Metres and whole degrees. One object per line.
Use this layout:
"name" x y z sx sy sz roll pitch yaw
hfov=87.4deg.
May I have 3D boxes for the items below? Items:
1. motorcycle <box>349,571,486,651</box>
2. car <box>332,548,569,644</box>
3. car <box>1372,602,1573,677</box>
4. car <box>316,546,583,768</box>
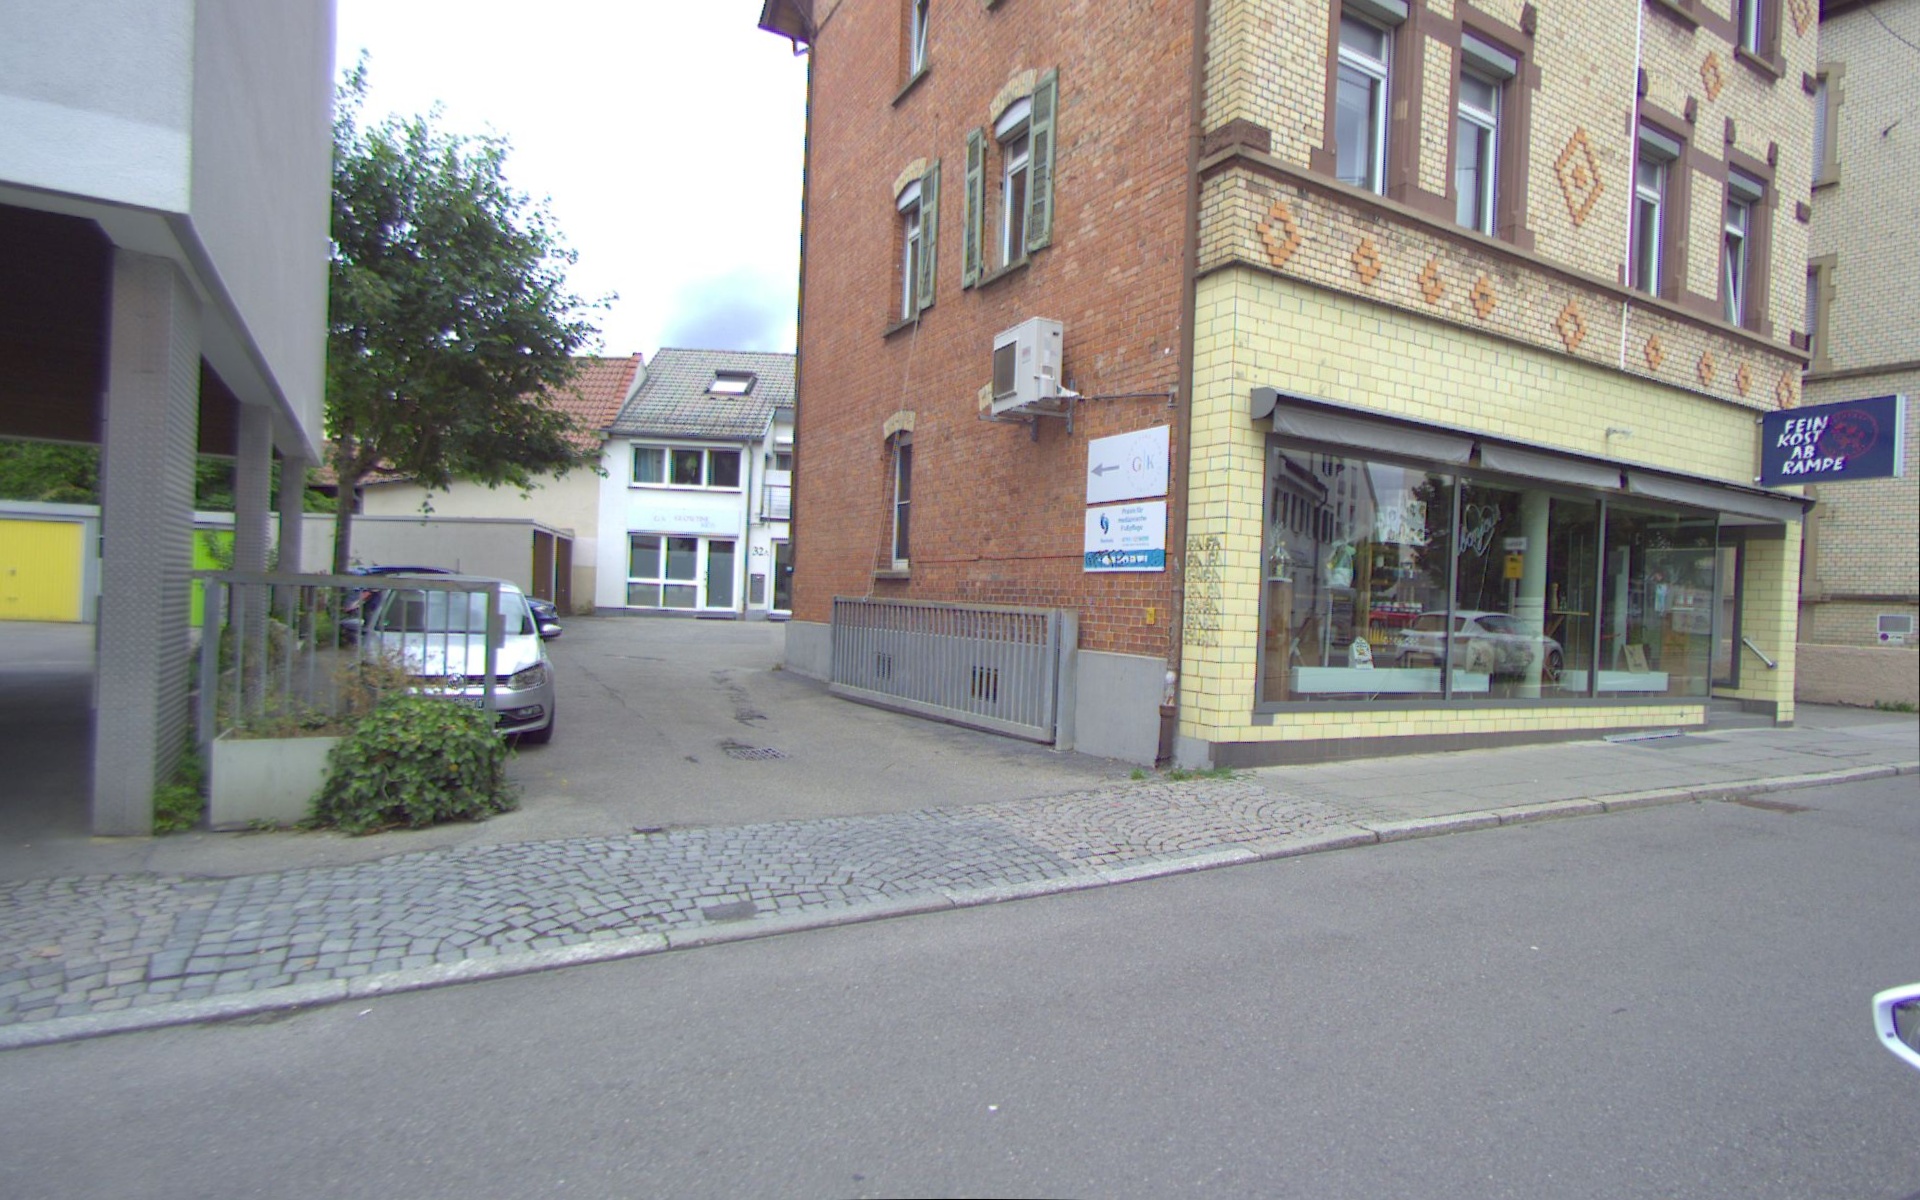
"motorcycle" -9.349 0.202 17.375 2.004 1.314 0.774 2 0 -29
"car" -10.145 -0.054 20.353 3.963 1.684 1.878 3 0 -19
"car" 10.966 0.859 21.463 3.954 1.387 1.984 3 0 -30
"car" -4.922 0.402 9.812 1.862 1.684 3.982 2 1 -27
